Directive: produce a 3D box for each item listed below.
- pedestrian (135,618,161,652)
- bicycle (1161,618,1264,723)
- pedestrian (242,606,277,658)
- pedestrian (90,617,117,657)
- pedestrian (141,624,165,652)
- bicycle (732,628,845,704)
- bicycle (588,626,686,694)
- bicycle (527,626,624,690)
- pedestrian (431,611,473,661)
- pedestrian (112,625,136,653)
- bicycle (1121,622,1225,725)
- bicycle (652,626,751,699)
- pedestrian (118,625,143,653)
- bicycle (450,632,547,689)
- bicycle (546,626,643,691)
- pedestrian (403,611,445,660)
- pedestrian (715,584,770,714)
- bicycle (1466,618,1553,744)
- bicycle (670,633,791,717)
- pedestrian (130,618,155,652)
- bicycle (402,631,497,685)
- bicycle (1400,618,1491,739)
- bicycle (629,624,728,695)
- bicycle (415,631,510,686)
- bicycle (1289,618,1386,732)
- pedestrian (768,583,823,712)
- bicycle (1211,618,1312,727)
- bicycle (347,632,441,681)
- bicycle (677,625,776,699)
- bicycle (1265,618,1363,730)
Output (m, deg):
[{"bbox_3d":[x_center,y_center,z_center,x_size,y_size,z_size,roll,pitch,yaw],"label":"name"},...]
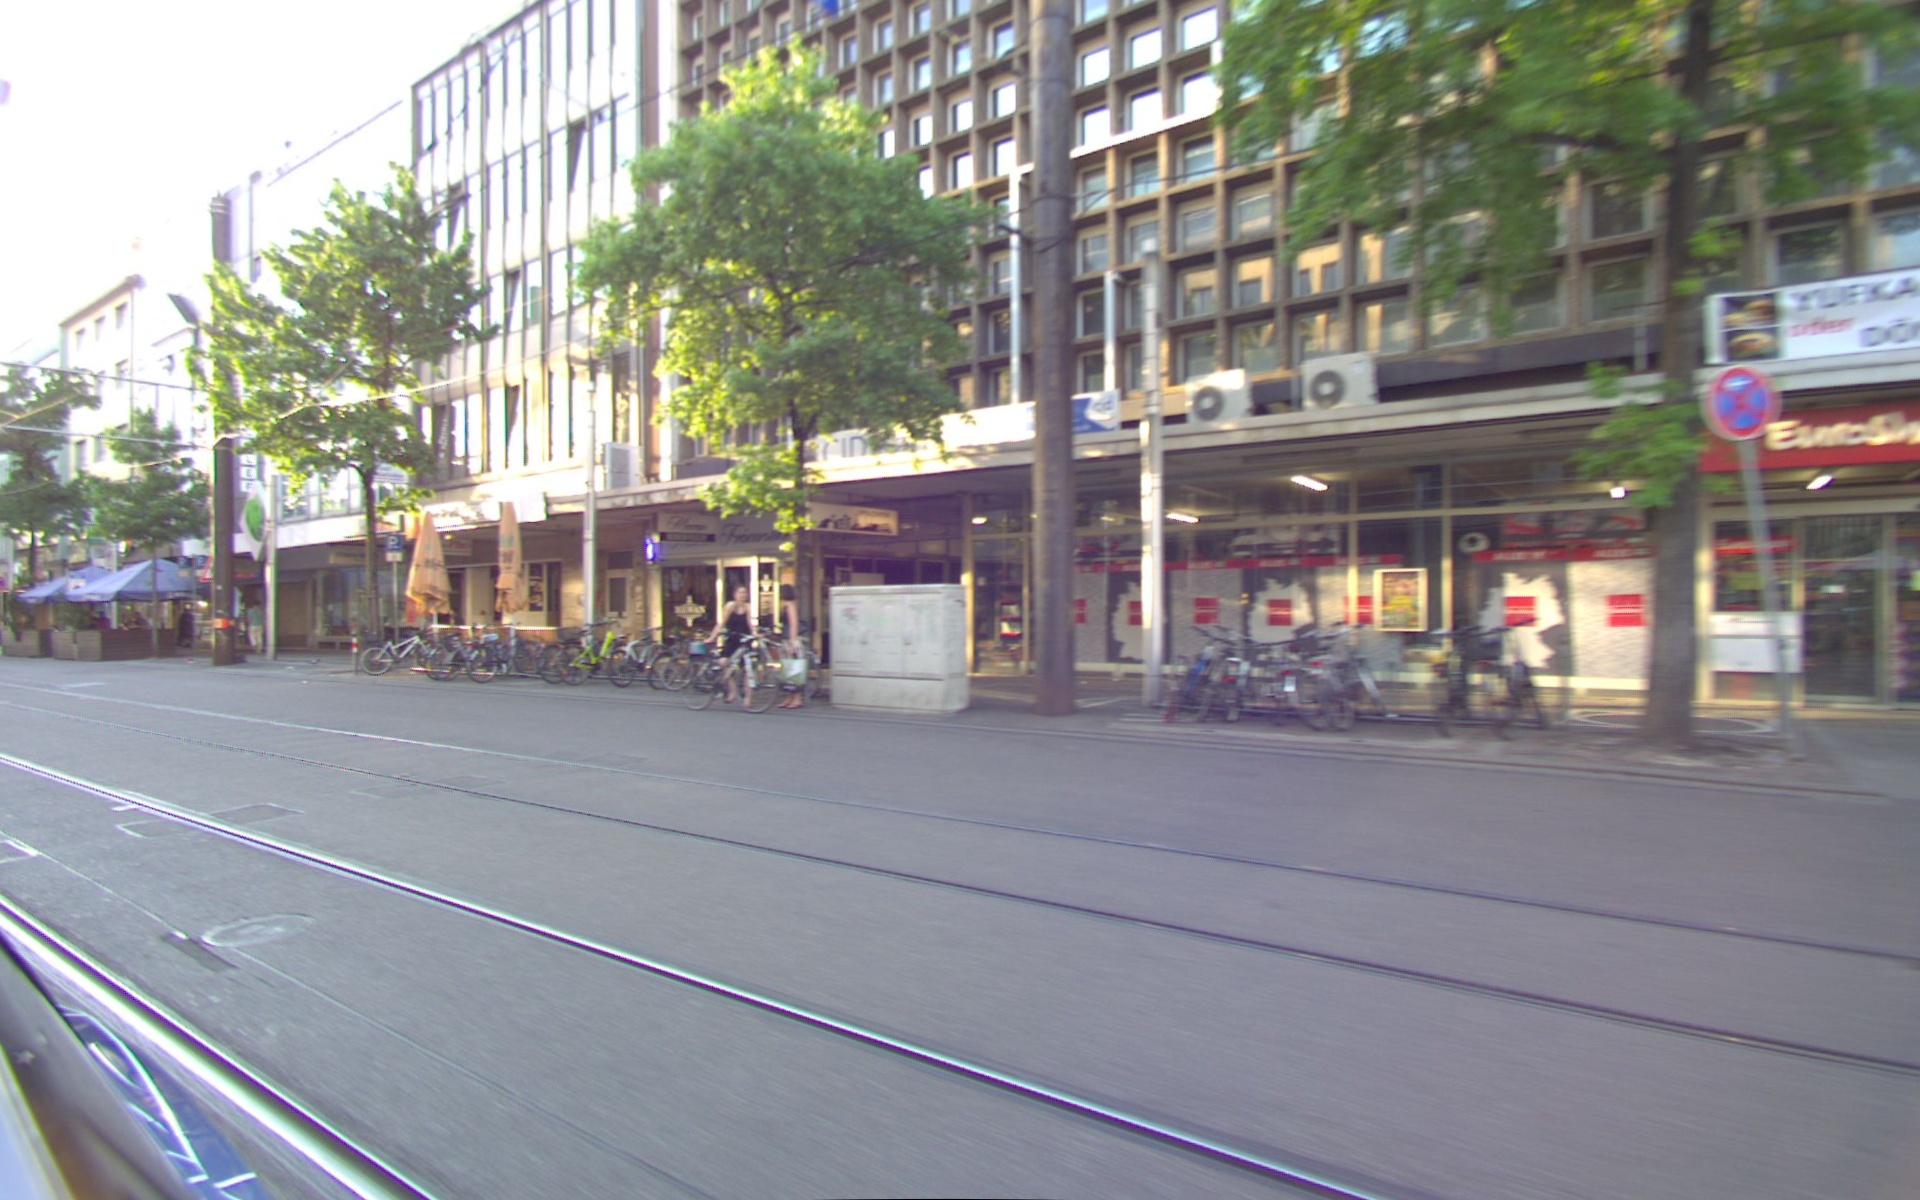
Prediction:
[{"bbox_3d":[-36.378,1.561,45.329,0.642,1.444,0.655,0,4,36],"label":"pedestrian"},{"bbox_3d":[2.930,0.771,11.623,0.488,1.053,1.756,-2,0,36],"label":"bicycle"},{"bbox_3d":[-24.904,1.131,35.973,0.989,1.806,0.678,-1,1,37],"label":"pedestrian"},{"bbox_3d":[-34.618,1.470,40.900,0.564,1.564,0.650,-1,2,34],"label":"pedestrian"},{"bbox_3d":[-35.189,1.666,44.119,0.664,1.165,0.635,-1,2,34],"label":"pedestrian"},{"bbox_3d":[-2.534,0.958,14.876,1.773,1.053,0.484,-2,-1,34],"label":"bicycle"},{"bbox_3d":[-5.768,1.049,18.170,0.487,1.079,1.759,-2,0,30],"label":"bicycle"},{"bbox_3d":[-7.264,1.072,19.200,0.487,1.079,1.759,-2,0,30],"label":"bicycle"},{"bbox_3d":[-14.114,0.980,28.111,0.910,1.335,0.665,-1,1,35],"label":"pedestrian"},{"bbox_3d":[-36.385,1.684,44.052,0.664,1.165,0.635,-1,2,34],"label":"pedestrian"},{"bbox_3d":[2.540,0.821,11.919,0.488,1.053,1.756,-2,0,36],"label":"bicycle"},{"bbox_3d":[-4.343,1.027,17.135,0.487,1.079,1.759,-2,0,30],"label":"bicycle"},{"bbox_3d":[-35.545,1.670,43.383,0.664,1.165,0.635,-1,2,34],"label":"pedestrian"},{"bbox_3d":[-9.043,1.169,19.892,0.487,0.997,1.759,-3,0,30],"label":"bicycle"},{"bbox_3d":[-6.790,1.065,18.871,0.487,1.079,1.759,-2,0,30],"label":"bicycle"},{"bbox_3d":[-15.179,1.002,28.671,0.910,1.335,0.665,-1,1,35],"label":"pedestrian"},{"bbox_3d":[-2.959,0.645,13.752,0.592,1.712,0.537,-1,-1,-25],"label":"pedestrian"},{"bbox_3d":[5.346,0.733,9.797,0.488,1.053,1.756,-2,0,36],"label":"bicycle"},{"bbox_3d":[-3.102,0.988,13.611,1.773,1.053,0.484,-2,-1,34],"label":"bicycle"},{"bbox_3d":[-36.960,1.570,45.750,0.642,1.444,0.655,0,4,36],"label":"pedestrian"},{"bbox_3d":[-10.596,1.193,21.048,0.487,0.997,1.759,-3,0,30],"label":"bicycle"},{"bbox_3d":[4.903,0.740,10.172,0.488,1.053,1.756,-2,0,36],"label":"bicycle"},{"bbox_3d":[-4.813,1.003,17.416,0.487,1.079,1.759,-2,0,30],"label":"bicycle"},{"bbox_3d":[-10.168,1.187,20.740,0.487,0.997,1.759,-3,0,30],"label":"bicycle"},{"bbox_3d":[4.054,0.754,10.806,0.488,1.053,1.756,-2,0,36],"label":"bicycle"},{"bbox_3d":[-2.247,0.635,13.799,0.592,1.712,0.537,-1,-1,-25],"label":"pedestrian"},{"bbox_3d":[3.386,0.764,11.280,0.488,1.053,1.756,-2,0,36],"label":"bicycle"},{"bbox_3d":[-12.611,1.244,22.588,1.749,0.973,0.490,-2,1,-37],"label":"bicycle"},{"bbox_3d":[-3.828,0.993,16.737,0.487,1.079,1.759,-2,0,30],"label":"bicycle"},{"bbox_3d":[3.862,0.757,10.953,0.488,1.053,1.756,-2,0,36],"label":"bicycle"}]
